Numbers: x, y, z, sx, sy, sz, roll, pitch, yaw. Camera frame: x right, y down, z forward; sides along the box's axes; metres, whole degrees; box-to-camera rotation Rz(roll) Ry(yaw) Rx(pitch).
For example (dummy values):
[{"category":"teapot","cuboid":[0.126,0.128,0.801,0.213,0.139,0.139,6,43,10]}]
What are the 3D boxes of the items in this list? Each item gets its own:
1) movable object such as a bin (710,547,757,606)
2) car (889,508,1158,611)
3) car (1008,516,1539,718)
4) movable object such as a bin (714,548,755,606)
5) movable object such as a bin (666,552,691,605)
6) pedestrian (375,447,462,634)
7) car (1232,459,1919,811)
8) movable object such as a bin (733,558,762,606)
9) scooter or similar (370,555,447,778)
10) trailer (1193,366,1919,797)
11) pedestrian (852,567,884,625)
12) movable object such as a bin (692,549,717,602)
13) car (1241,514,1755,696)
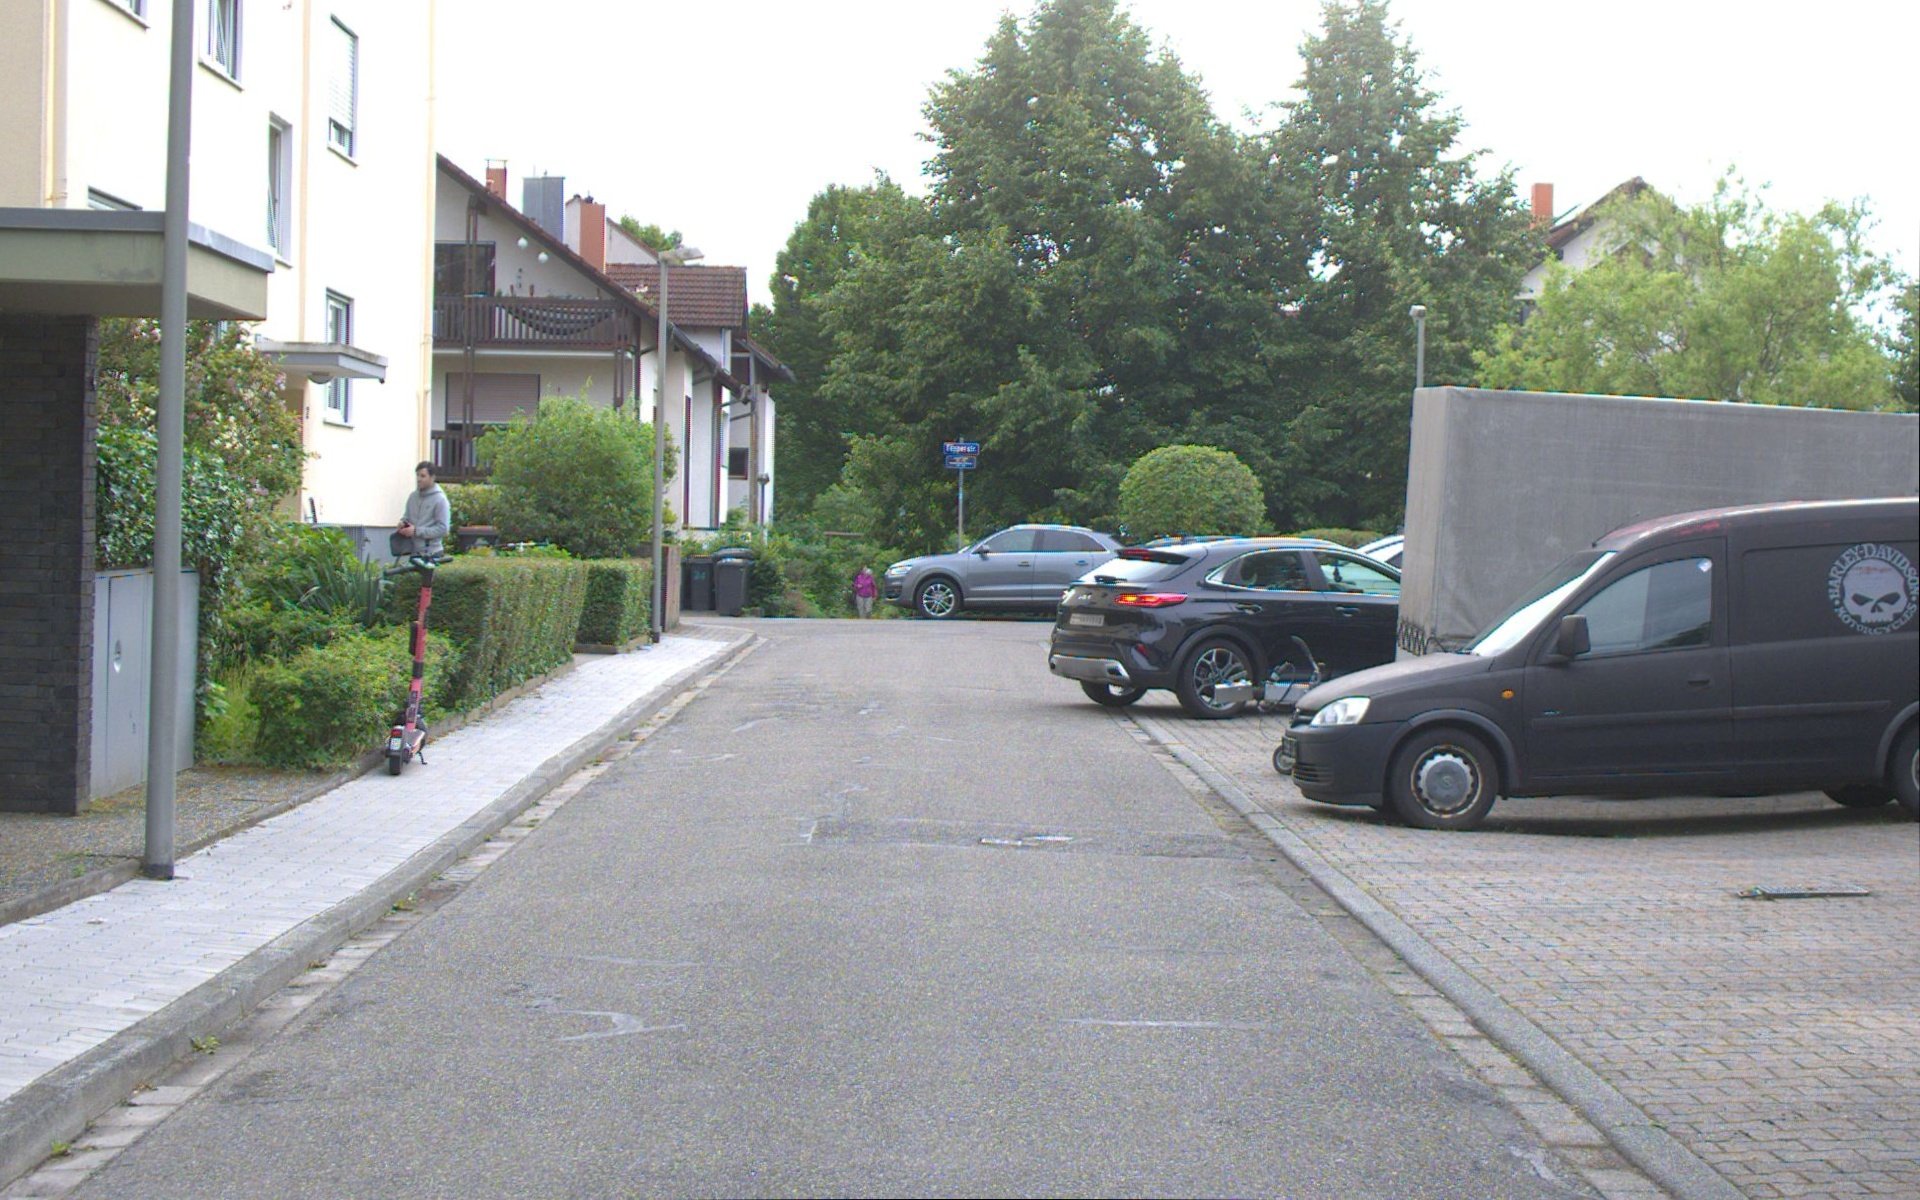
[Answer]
[{"category":"movable object such as a bin","cuboid":[-3.822,-0.401,58.153,0.733,0.950,0.584,2,1,-1]},{"category":"car","cuboid":[0.991,-0.635,55.274,4.237,1.526,1.747,1,-1,-1]},{"category":"car","cuboid":[2.643,0.099,29.118,3.986,1.546,2.001,-2,2,-22]},{"category":"movable object such as a bin","cuboid":[-3.764,-0.387,57.426,0.638,0.950,0.723,2,1,-2]},{"category":"movable object such as a bin","cuboid":[-4.830,-0.375,59.026,0.386,0.898,0.379,2,1,-3]},{"category":"pedestrian","cuboid":[-5.163,-0.571,32.794,0.679,1.743,0.756,2,1,-2]},{"category":"car","cuboid":[3.786,0.147,19.190,4.310,1.795,2.000,-1,2,-1]},{"category":"movable object such as a bin","cuboid":[-3.667,-0.310,59.353,0.459,0.795,0.379,2,1,-3]},{"category":"scooter or similar","cuboid":[-3.129,0.358,19.540,0.272,1.206,1.165,1,2,-2]},{"category":"trailer","cuboid":[3.894,-0.131,21.955,4.609,2.516,1.943,2,1,0]},{"category":"pedestrian","cuboid":[-2.458,-0.112,91.557,0.815,1.512,0.438,1,0,-3]},{"category":"movable object such as a bin","cuboid":[-4.388,-0.423,59.044,0.386,0.886,0.379,2,1,-3]},{"category":"car","cuboid":[4.994,0.016,32.419,4.537,1.583,1.988,1,2,1]}]
